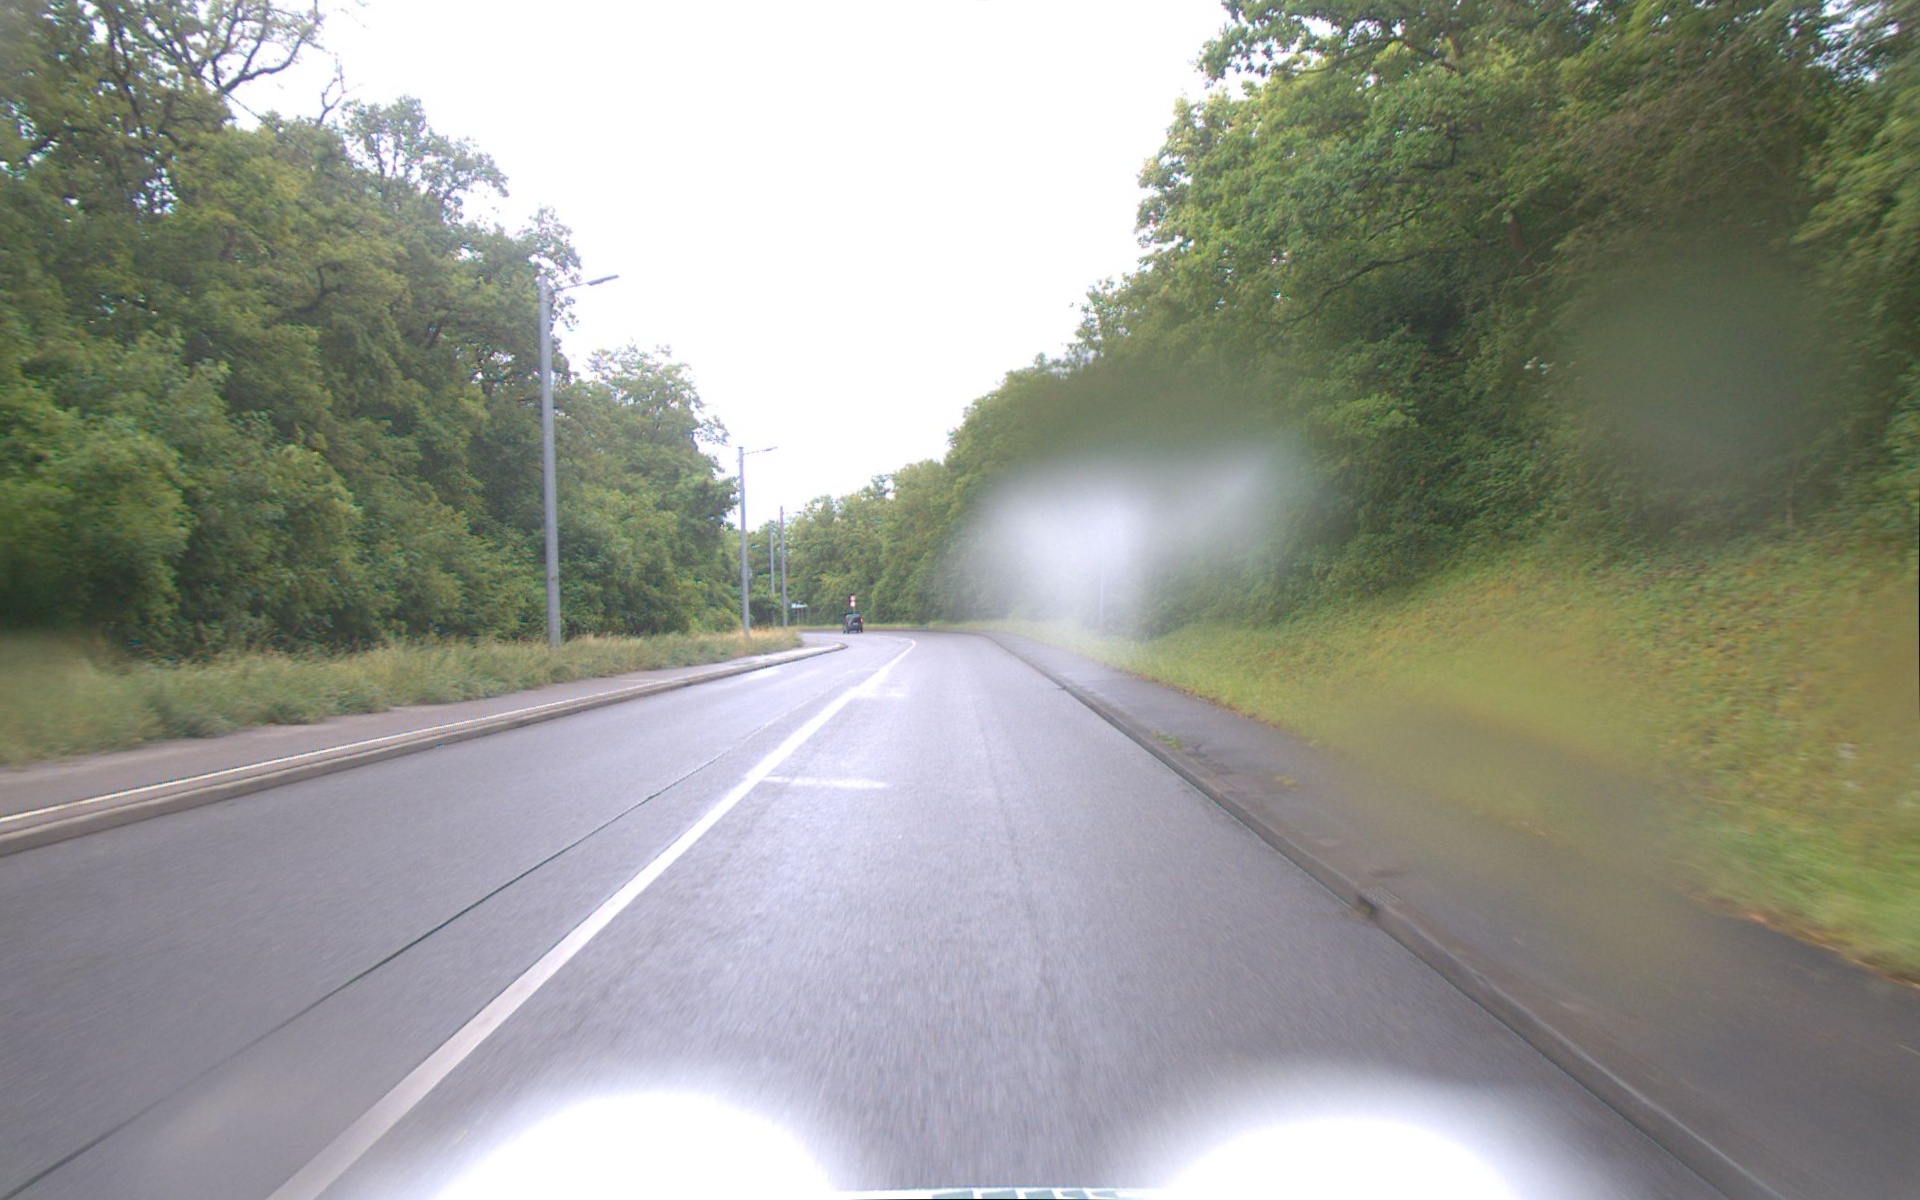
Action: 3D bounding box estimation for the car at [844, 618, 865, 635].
[{"bbox_3d":[-10.593,2.662,166.168,1.832,1.624,3.993,2,-1,-8],"label":"car"}]
